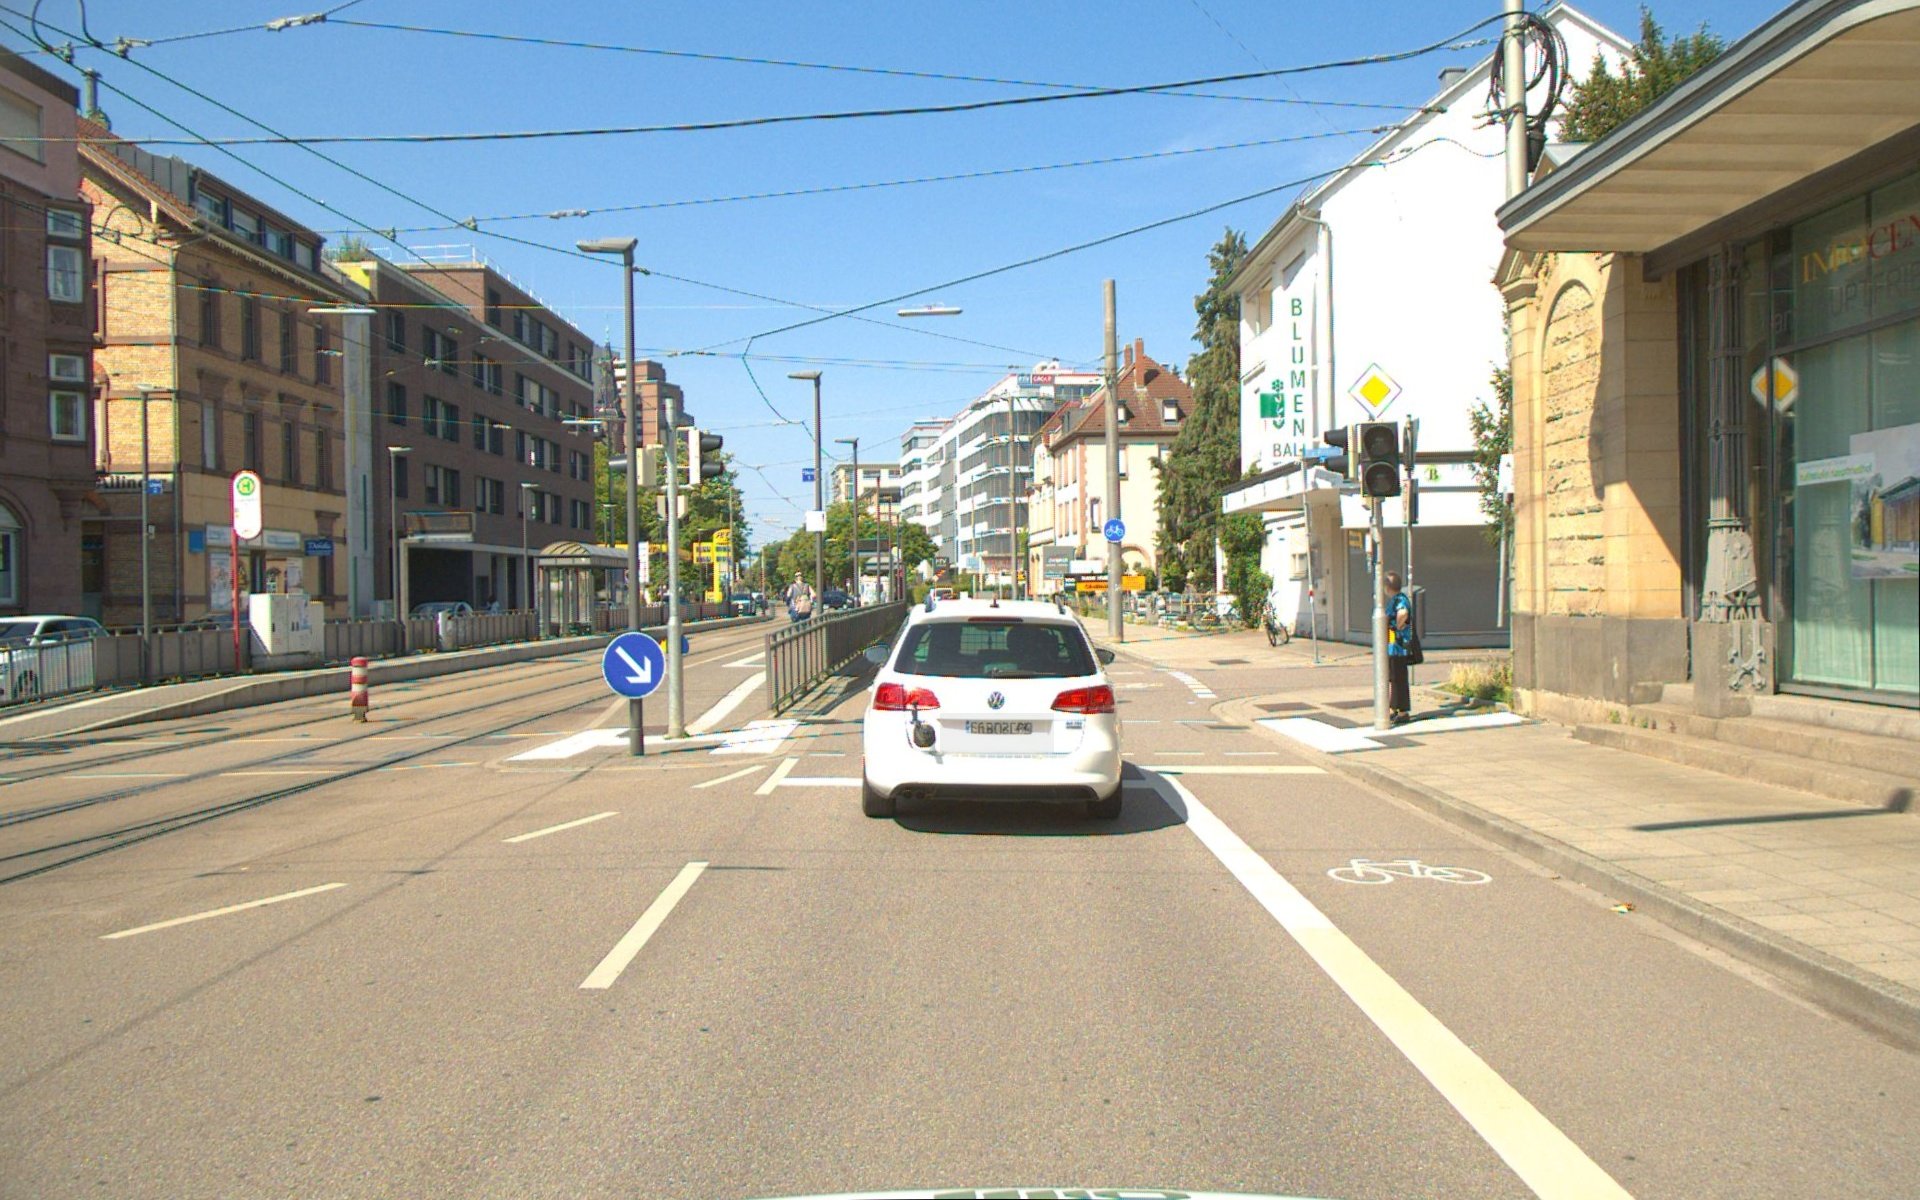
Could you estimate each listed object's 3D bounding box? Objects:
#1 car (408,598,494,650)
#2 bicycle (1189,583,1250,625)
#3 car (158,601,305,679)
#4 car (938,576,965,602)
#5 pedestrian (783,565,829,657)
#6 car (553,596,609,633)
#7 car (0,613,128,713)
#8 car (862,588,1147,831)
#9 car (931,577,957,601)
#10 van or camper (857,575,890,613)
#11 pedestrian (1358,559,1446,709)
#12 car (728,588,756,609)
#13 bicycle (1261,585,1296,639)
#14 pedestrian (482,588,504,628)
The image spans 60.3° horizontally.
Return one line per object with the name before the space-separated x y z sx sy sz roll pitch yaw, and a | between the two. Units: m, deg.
car | -15.538 0.703 50.659 1.541 1.484 3.737 -2 1 -2
bicycle | 7.588 0.115 48.356 1.677 1.150 0.526 -2 0 1
car | -15.174 0.792 34.649 1.541 1.484 3.811 -2 1 -4
car | -0.724 -0.935 138.961 1.955 2.049 3.996 -1 1 -5
pedestrian | -3.159 0.220 33.978 0.809 1.841 0.833 -1 0 0
car | -16.280 0.615 71.200 1.541 1.484 3.934 -2 1 -2
car | -15.257 0.967 26.856 1.593 1.456 3.961 0 0 -2
car | 0.270 0.654 11.981 1.717 1.442 3.853 1 1 0
car | -1.436 -0.956 144.374 1.955 2.049 3.996 -1 1 -5
van or camper | -7.820 -0.567 149.146 2.885 3.235 6.608 -1 1 -4
pedestrian | 4.663 0.345 17.502 0.762 1.536 0.859 -1 0 8
car | -16.056 -0.130 121.946 1.634 1.492 3.773 -1 1 -1
bicycle | 7.151 0.256 37.059 0.710 1.159 2.197 -1 1 12
pedestrian | -21.151 0.354 74.961 0.710 1.822 0.964 0 0 -1
